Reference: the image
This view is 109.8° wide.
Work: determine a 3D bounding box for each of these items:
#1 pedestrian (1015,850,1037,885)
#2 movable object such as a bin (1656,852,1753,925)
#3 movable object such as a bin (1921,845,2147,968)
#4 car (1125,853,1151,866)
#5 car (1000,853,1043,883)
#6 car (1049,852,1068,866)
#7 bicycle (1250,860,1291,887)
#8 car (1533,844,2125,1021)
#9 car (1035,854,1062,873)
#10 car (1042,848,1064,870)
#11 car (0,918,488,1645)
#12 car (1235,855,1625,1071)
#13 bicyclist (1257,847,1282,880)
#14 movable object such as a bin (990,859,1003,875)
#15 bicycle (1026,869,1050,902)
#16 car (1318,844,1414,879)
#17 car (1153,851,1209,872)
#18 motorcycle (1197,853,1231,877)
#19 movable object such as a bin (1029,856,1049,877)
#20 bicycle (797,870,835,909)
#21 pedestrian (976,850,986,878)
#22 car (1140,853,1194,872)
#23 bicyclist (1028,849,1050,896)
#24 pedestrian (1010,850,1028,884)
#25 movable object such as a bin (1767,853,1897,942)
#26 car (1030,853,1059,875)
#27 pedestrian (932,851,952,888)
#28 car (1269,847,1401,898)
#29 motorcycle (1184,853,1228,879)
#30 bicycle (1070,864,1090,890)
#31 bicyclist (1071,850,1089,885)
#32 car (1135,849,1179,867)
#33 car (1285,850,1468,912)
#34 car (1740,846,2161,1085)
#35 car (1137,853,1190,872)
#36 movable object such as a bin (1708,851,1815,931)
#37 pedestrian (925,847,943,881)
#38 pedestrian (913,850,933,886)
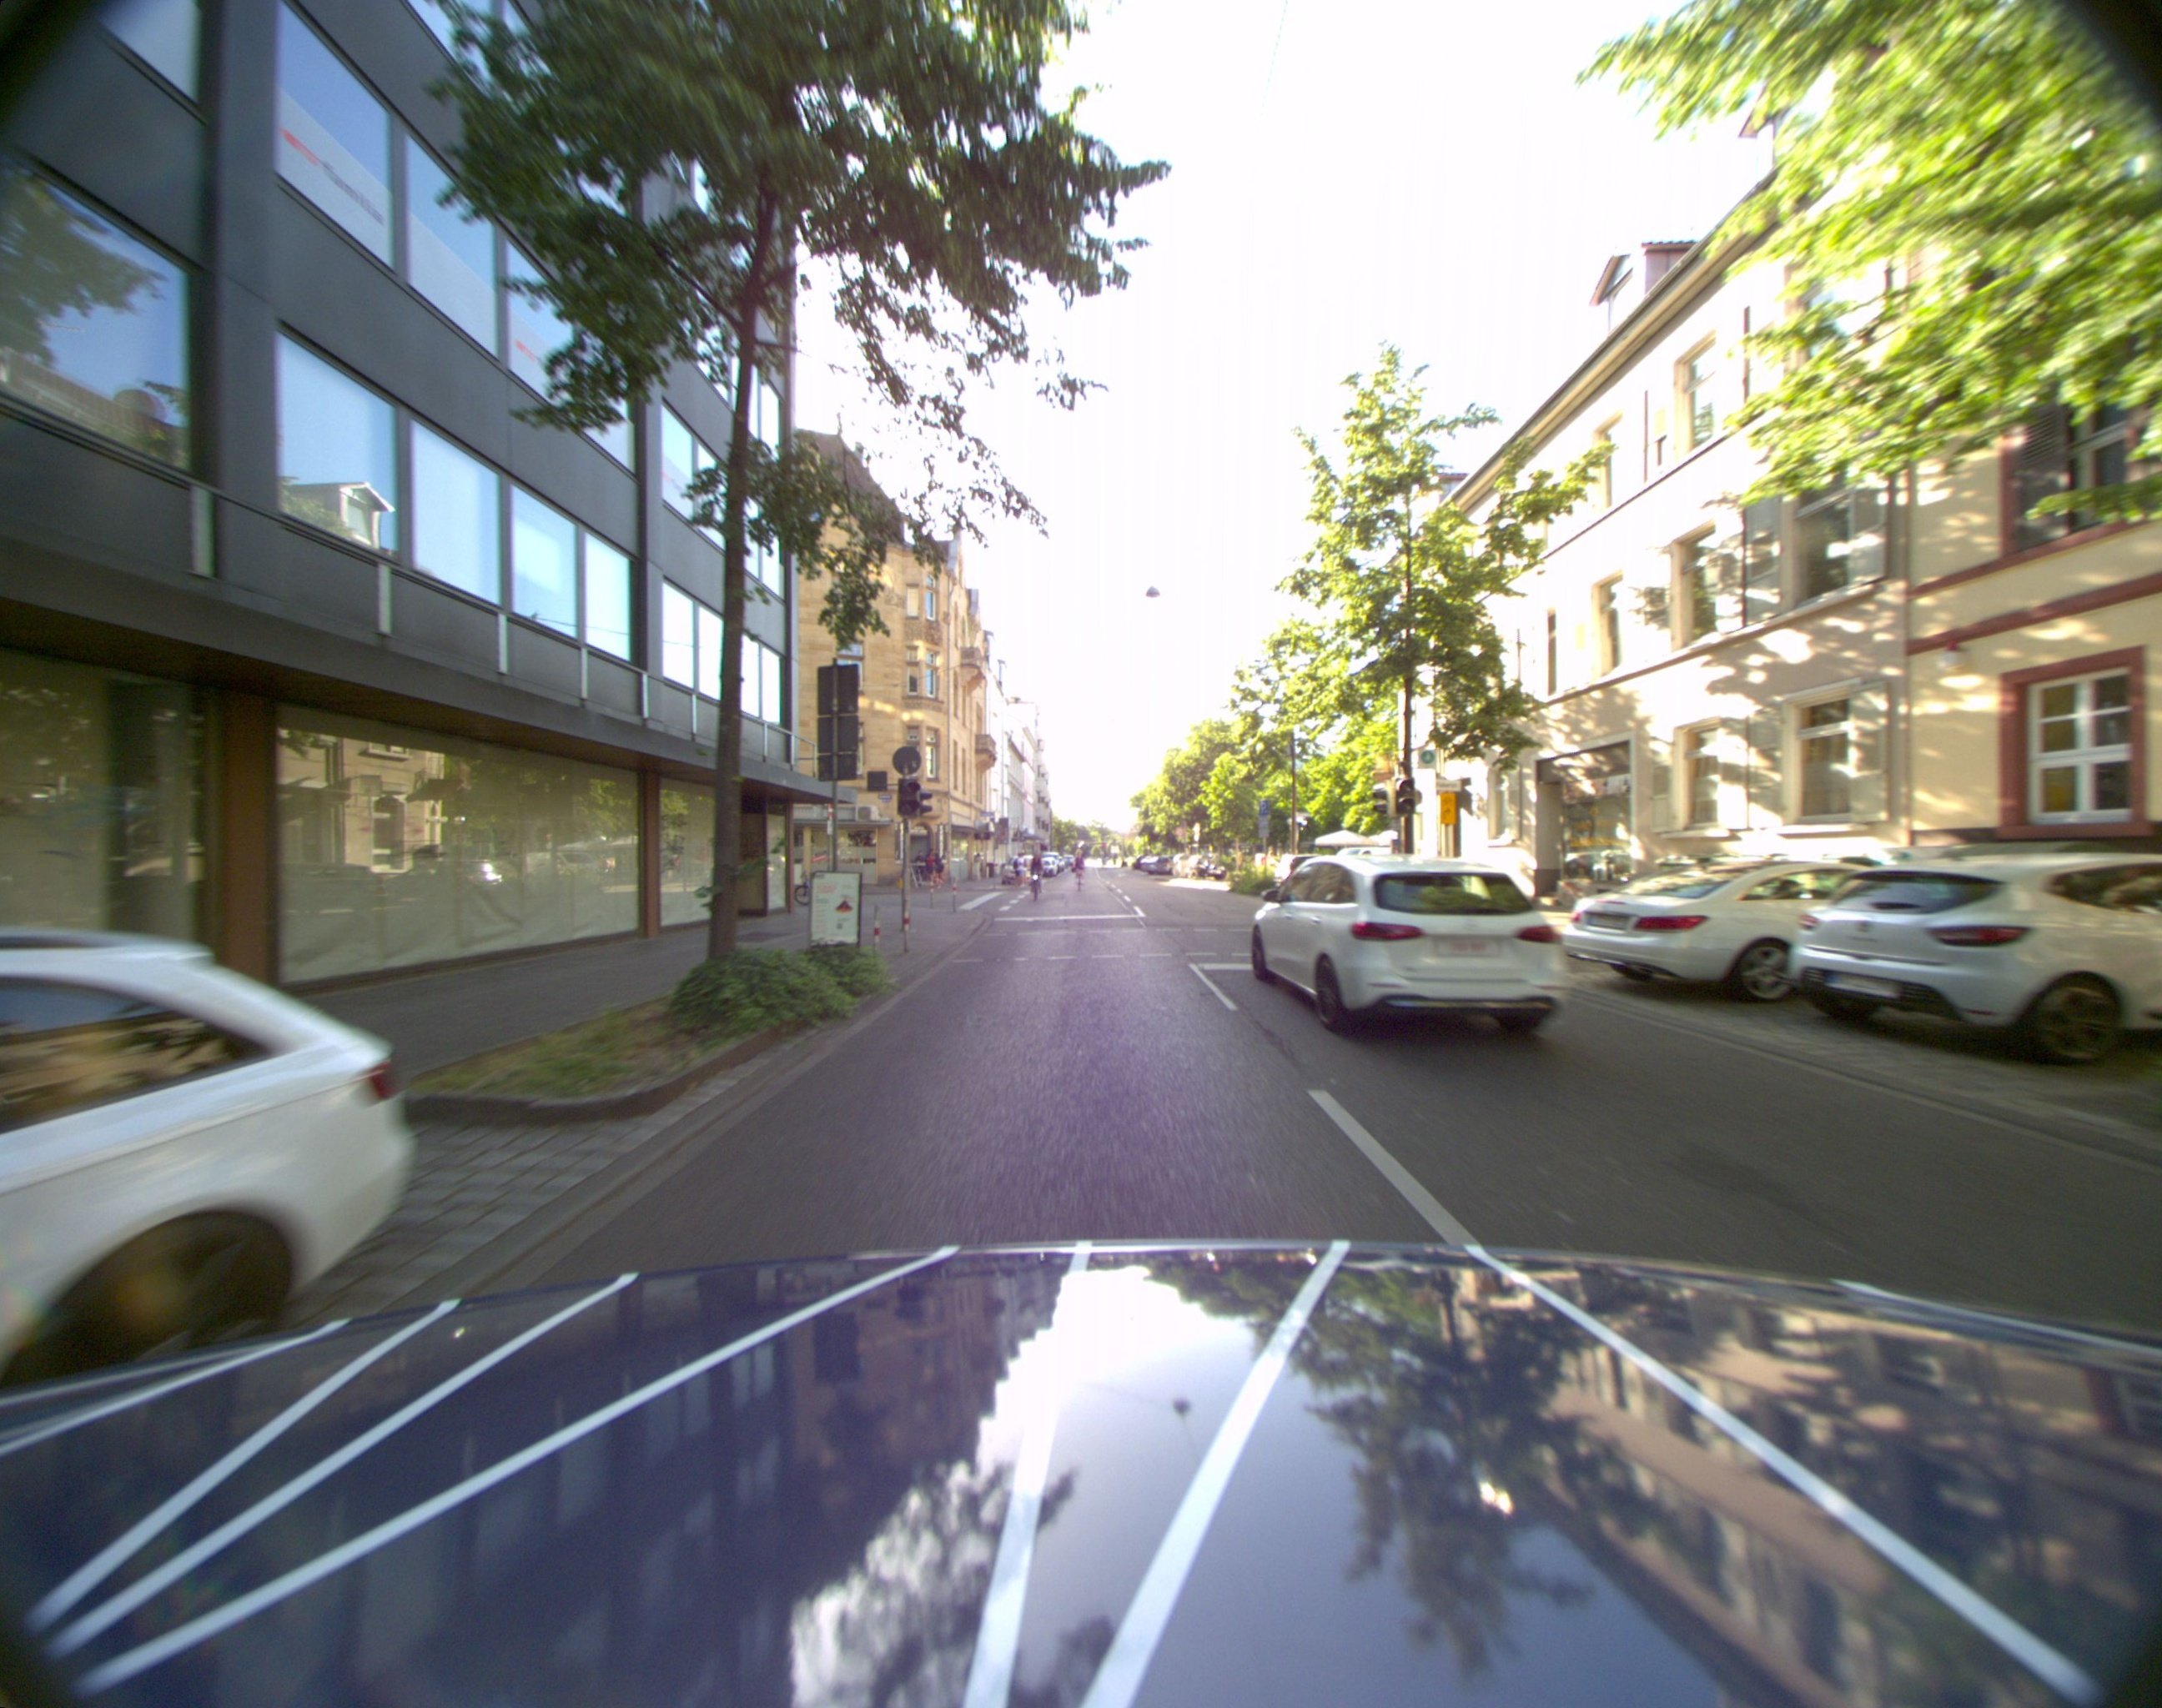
[{"bbox_3d":[-2.764,0.668,38.313,0.693,1.709,0.897,2,1,25],"label":"pedestrian"},{"bbox_3d":[12.252,0.650,14.983,0.911,1.359,1.261,-1,1,4],"label":"movable object such as a bin"},{"bbox_3d":[12.002,0.622,9.657,1.136,1.436,1.382,-1,1,4],"label":"movable object such as a bin"},{"bbox_3d":[6.231,0.589,83.222,1.771,1.421,4.006,-1,0,20],"label":"car"},{"bbox_3d":[-3.282,0.729,42.540,1.978,1.565,4.126,1,0,1],"label":"car"},{"bbox_3d":[-2.453,0.576,83.015,1.999,1.444,3.955,1,0,0],"label":"car"},{"bbox_3d":[8.888,0.905,35.633,1.947,1.151,0.667,-2,1,-31],"label":"bicycle"},{"bbox_3d":[7.897,0.734,8.350,4.713,1.484,1.999,-2,2,-4],"label":"car"},{"bbox_3d":[-2.692,0.757,63.683,1.998,1.482,4.000,1,0,1],"label":"car"},{"bbox_3d":[-2.659,0.451,73.043,1.999,1.942,5.100,1,0,-1],"label":"car"},{"bbox_3d":[-3.235,0.969,0.477,1.826,1.394,4.842,2,0,1],"label":"car"},{"bbox_3d":[2.981,0.798,7.710,1.915,1.535,4.353,1,0,0],"label":"car"},{"bbox_3d":[8.850,0.449,35.605,0.891,1.516,0.667,-2,1,-31],"label":"bicyclist"},{"bbox_3d":[-5.940,0.925,53.341,0.725,1.042,0.664,2,-1,11],"label":"movable object such as a bin"},{"bbox_3d":[-1.455,1.067,26.199,0.666,1.061,1.836,-1,0,1],"label":"bicycle"},{"bbox_3d":[16.449,0.443,43.853,5.335,1.933,2.070,0,0,-25],"label":"car"},{"bbox_3d":[7.899,0.600,59.932,4.006,1.553,1.995,-2,0,-30],"label":"car"},{"bbox_3d":[7.933,0.644,45.287,1.750,1.415,0.831,-1,1,27],"label":"motorcycle"},{"bbox_3d":[-2.945,0.858,52.920,1.147,1.413,1.411,2,1,5],"label":"movable object such as a bin"},{"bbox_3d":[-8.276,1.081,23.733,0.574,1.154,1.740,-1,-1,-38],"label":"bicycle"},{"bbox_3d":[-6.257,0.614,47.613,0.536,1.732,0.598,-1,1,-4],"label":"pedestrian"},{"bbox_3d":[7.022,0.669,62.160,4.006,1.433,1.995,-2,0,-30],"label":"car"},{"bbox_3d":[-1.459,0.631,26.331,0.658,1.562,0.909,-1,1,1],"label":"bicyclist"},{"bbox_3d":[-3.185,0.657,38.861,0.699,1.709,0.693,1,1,-22],"label":"pedestrian"},{"bbox_3d":[12.172,0.673,12.376,0.819,1.354,1.346,-1,1,4],"label":"movable object such as a bin"},{"bbox_3d":[-2.848,0.750,59.549,1.998,1.565,4.000,1,0,1],"label":"car"},{"bbox_3d":[-6.581,0.722,36.035,0.617,1.682,0.677,2,3,45],"label":"pedestrian"},{"bbox_3d":[8.813,0.630,26.641,3.996,1.630,1.944,-1,0,2],"label":"car"},{"bbox_3d":[7.327,0.703,44.450,2.316,1.415,1.002,-1,1,28],"label":"motorcycle"},{"bbox_3d":[-0.061,1.012,34.622,0.718,1.105,2.268,-1,0,-4],"label":"bicycle"},{"bbox_3d":[-0.068,0.624,34.493,0.718,1.553,0.863,-1,1,-4],"label":"bicyclist"},{"bbox_3d":[7.685,0.370,76.862,4.003,1.684,1.997,-2,0,-18],"label":"car"},{"bbox_3d":[8.105,0.723,21.157,4.349,1.535,1.945,-1,0,3],"label":"car"},{"bbox_3d":[8.506,0.718,6.034,4.711,1.483,2.000,-2,0,1],"label":"car"},{"bbox_3d":[7.099,0.706,65.308,4.005,1.465,1.996,-2,0,-25],"label":"car"},{"bbox_3d":[12.230,0.633,13.700,0.831,1.347,1.248,-1,1,4],"label":"movable object such as a bin"},{"bbox_3d":[-7.313,0.502,37.832,0.498,1.683,0.717,-1,1,28],"label":"pedestrian"},{"bbox_3d":[-7.657,0.666,36.803,0.618,1.683,0.717,-1,1,28],"label":"pedestrian"}]
